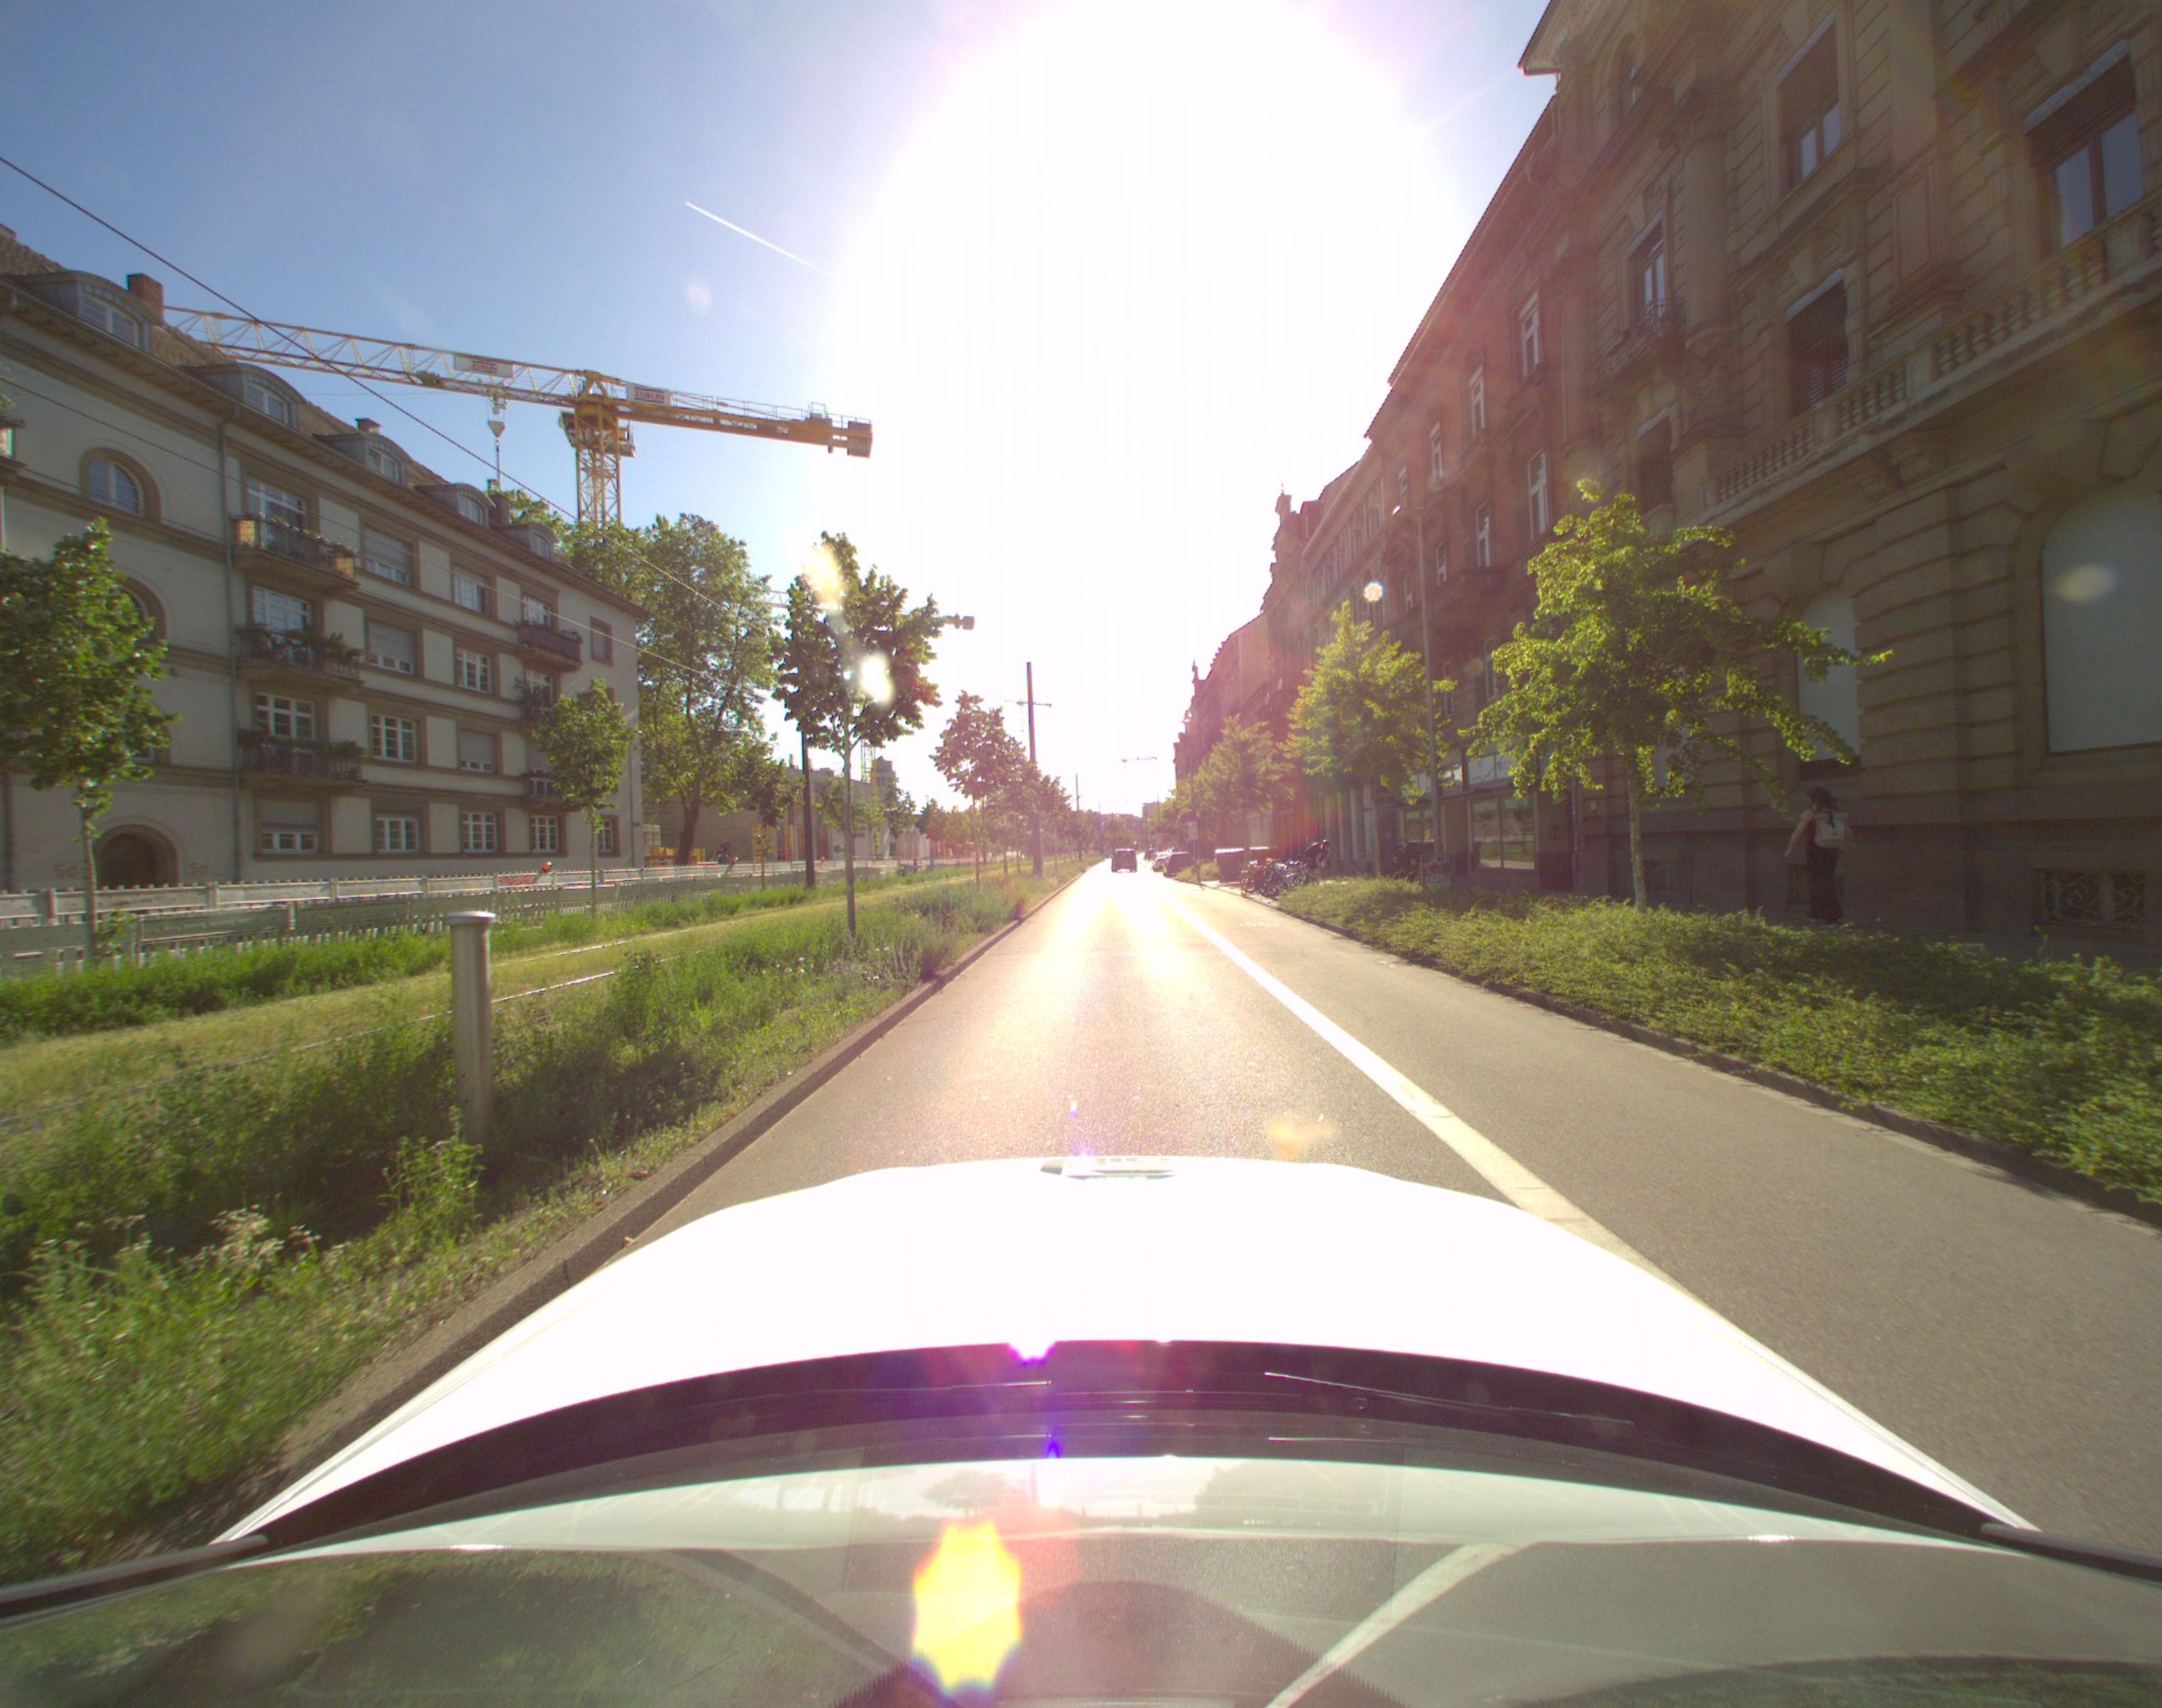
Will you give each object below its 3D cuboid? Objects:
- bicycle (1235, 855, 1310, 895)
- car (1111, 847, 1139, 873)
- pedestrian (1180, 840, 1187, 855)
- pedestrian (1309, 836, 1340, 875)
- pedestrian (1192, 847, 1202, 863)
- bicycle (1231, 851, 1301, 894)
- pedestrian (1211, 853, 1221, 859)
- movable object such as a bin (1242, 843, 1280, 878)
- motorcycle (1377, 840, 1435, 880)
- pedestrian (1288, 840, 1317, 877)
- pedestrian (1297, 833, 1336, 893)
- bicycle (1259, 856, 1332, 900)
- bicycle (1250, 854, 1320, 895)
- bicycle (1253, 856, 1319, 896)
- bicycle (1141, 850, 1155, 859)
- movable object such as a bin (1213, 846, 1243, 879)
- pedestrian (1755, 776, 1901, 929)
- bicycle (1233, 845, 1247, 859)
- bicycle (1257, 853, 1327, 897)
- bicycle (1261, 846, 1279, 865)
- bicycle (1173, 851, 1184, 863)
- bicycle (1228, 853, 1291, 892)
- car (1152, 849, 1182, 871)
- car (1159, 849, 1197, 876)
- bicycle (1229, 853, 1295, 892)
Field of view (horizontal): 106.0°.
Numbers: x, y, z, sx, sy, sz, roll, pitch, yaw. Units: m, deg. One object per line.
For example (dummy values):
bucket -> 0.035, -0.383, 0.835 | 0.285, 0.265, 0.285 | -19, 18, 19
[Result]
bicycle -> 6.173, 0.668, 26.239 | 2.287, 1.102, 0.484 | -4, 0, -13
car -> 3.491, 0.486, 65.650 | 1.987, 2.014, 3.999 | -1, -1, 0
pedestrian -> 14.742, -0.959, 117.403 | 0.814, 2.014, 1.046 | -1, -3, 2
pedestrian -> 10.735, 0.070, 35.934 | 0.967, 1.639, 0.993 | -4, 1, 2
pedestrian -> 12.673, 0.101, 88.860 | 0.992, 1.731, 0.866 | -1, -1, 2
bicycle -> 6.042, 0.596, 26.587 | 2.148, 1.154, 0.428 | -6, 0, -12
pedestrian -> 13.992, 0.228, 84.338 | 0.770, 0.553, 2.008 | -3, 1, 2
movable object such as a bin -> 8.495, 0.318, 38.446 | 1.368, 1.495, 1.750 | -5, -1, 3
motorcycle -> 11.072, 0.213, 27.889 | 0.862, 1.266, 2.983 | -1, -1, 2
pedestrian -> 9.785, 0.172, 35.992 | 0.947, 1.566, 1.080 | -3, 1, 1
pedestrian -> 7.273, 0.260, 25.106 | 0.892, 1.735, 0.854 | -6, 0, 22
bicycle -> 6.123, 0.666, 23.255 | 1.887, 1.108, 0.517 | -4, -1, -3
bicycle -> 6.276, 0.628, 25.070 | 1.971, 1.108, 0.435 | -4, -1, -1
bicycle -> 6.221, 0.660, 24.727 | 1.811, 1.055, 0.571 | -4, -1, -4
bicycle -> 9.991, 0.114, 121.256 | 1.875, 1.233, 0.499 | -5, -1, -4
movable object such as a bin -> 6.900, 0.395, 38.313 | 1.264, 1.463, 1.647 | -1, 2, 7
pedestrian -> 10.131, -0.021, 11.105 | 0.885, 1.920, 1.100 | -4, 0, 7
bicycle -> 13.160, -0.163, 67.521 | 0.718, 1.090, 2.200 | -3, 0, 2
bicycle -> 6.113, 0.610, 23.611 | 1.860, 1.179, 0.373 | -3, -1, -1
bicycle -> 12.368, 0.115, 53.329 | 0.745, 1.201, 1.802 | -3, -1, 2
bicycle -> 9.633, 0.345, 80.463 | 0.649, 1.120, 2.169 | -4, -1, -3
bicycle -> 6.145, 0.625, 28.077 | 1.970, 1.124, 0.481 | -6, 1, -4
car -> 6.685, 0.462, 63.927 | 1.944, 1.495, 5.108 | -4, 0, 2
car -> 6.063, 0.551, 51.224 | 1.760, 1.477, 4.447 | -5, -1, 0
bicycle -> 6.135, 0.619, 27.669 | 2.040, 1.107, 0.610 | -5, 0, -4
